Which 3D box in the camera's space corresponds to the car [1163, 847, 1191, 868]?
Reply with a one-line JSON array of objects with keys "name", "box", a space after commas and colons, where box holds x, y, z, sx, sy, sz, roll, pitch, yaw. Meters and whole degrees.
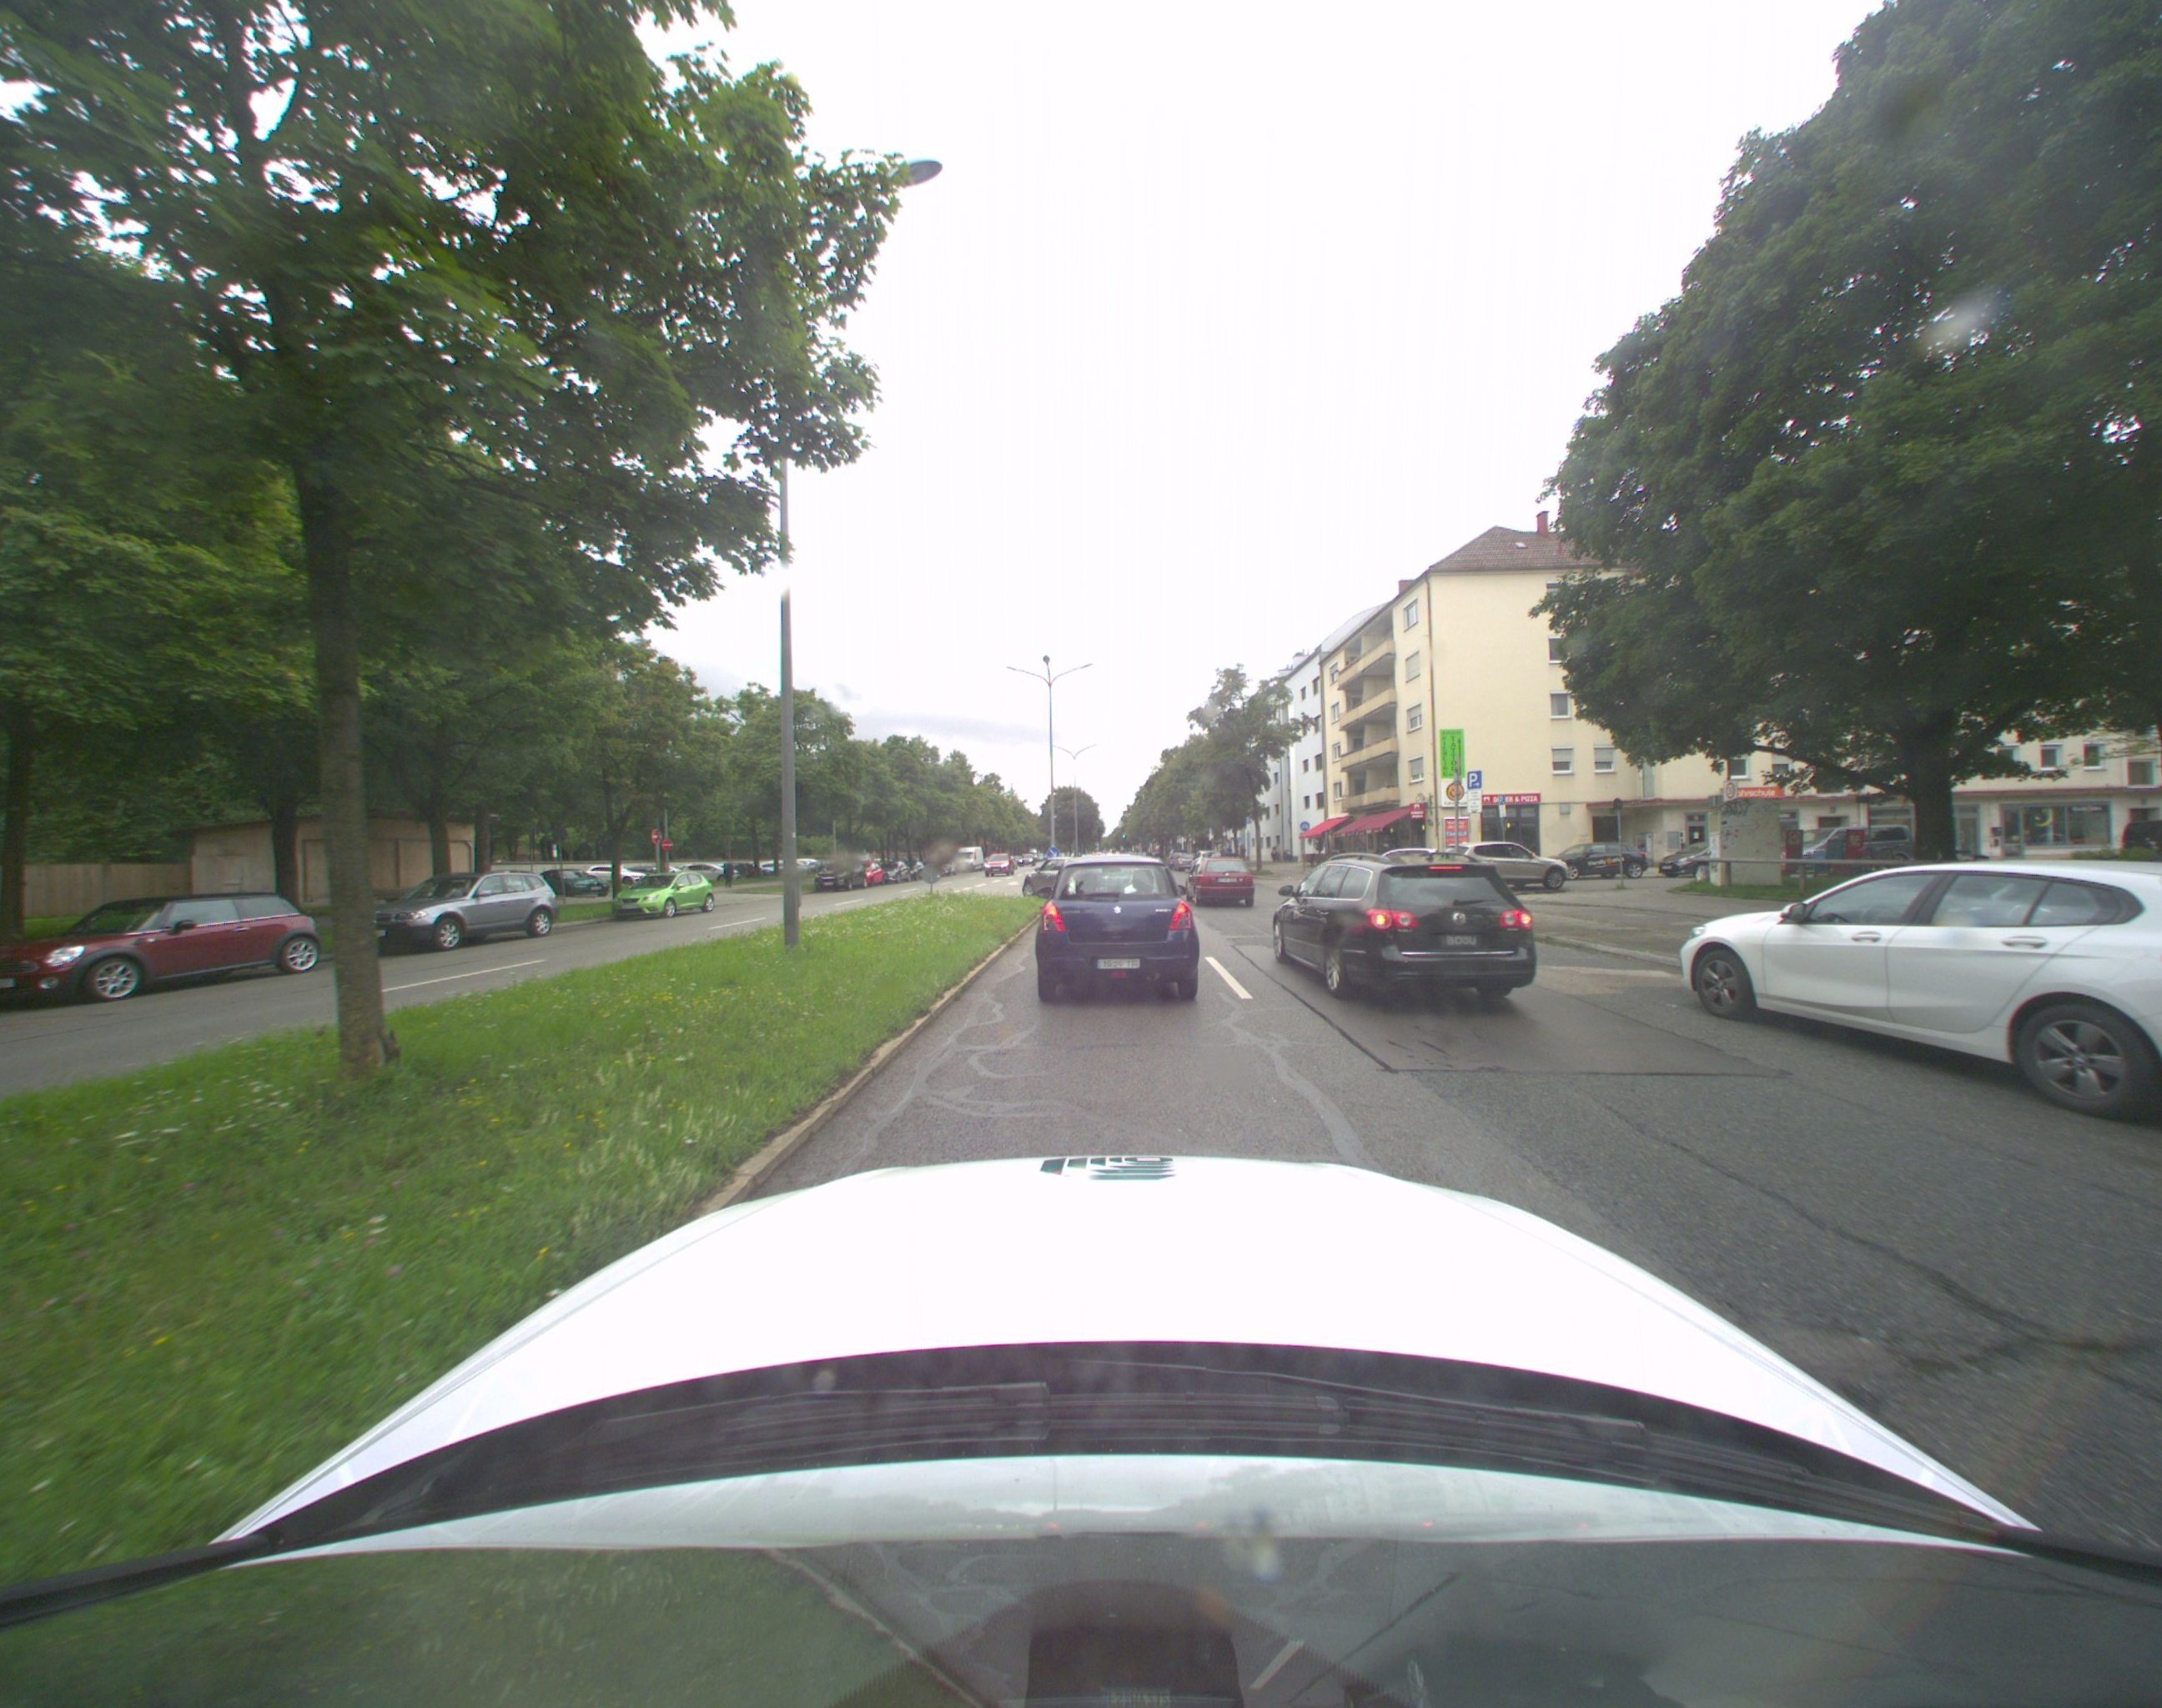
[{"name": "car", "box": [8.152, 0.277, 69.597, 1.859, 1.682, 4.224, -2, 0, 0]}]

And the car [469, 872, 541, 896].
[{"name": "car", "box": [-30.880, 1.573, 43.620, 4.363, 1.201, 1.683, -1, -1, 33]}]

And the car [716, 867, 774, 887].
[{"name": "car", "box": [-26.044, 1.802, 63.212, 3.858, 1.445, 1.670, -1, 0, -4]}]

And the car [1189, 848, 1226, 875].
[{"name": "car", "box": [7.979, 0.445, 51.665, 1.785, 1.558, 4.225, -2, 0, 1]}]

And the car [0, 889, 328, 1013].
[{"name": "car", "box": [-14.026, 1.355, 12.375, 1.584, 1.397, 3.634, -3, 0, 4]}]

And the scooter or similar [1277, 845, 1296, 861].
[{"name": "scooter or similar", "box": [17.435, -0.073, 69.094, 1.028, 1.307, 2.757, -2, 0, 3]}]

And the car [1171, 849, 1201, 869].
[{"name": "car", "box": [8.316, 0.378, 64.933, 1.859, 1.517, 4.224, -2, 0, 0]}]

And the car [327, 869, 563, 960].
[{"name": "car", "box": [-13.864, 1.224, 18.163, 1.685, 1.586, 4.372, -3, 0, 1]}]

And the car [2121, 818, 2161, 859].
[{"name": "car", "box": [46.222, -0.624, 33.505, 4.723, 1.661, 1.870, 0, 0, -3]}]

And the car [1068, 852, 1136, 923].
[{"name": "car", "box": [0.477, 0.715, 18.987, 1.439, 1.483, 3.107, -1, 0, 1]}]

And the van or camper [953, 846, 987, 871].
[{"name": "van or camper", "box": [-11.559, 0.421, 85.294, 2.108, 2.482, 7.454, -1, 0, 3]}]

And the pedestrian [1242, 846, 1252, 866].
[{"name": "pedestrian", "box": [16.270, 0.189, 79.706, 0.791, 2.013, 1.007, -1, 0, 2]}]

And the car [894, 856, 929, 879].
[{"name": "car", "box": [-12.321, 0.970, 59.395, 1.585, 1.558, 3.880, -1, 0, 1]}]

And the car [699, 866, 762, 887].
[{"name": "car", "box": [-25.367, 1.646, 59.019, 3.858, 1.445, 1.670, -1, 0, -4]}]

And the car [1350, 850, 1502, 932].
[{"name": "car", "box": [6.762, 0.662, 16.383, 1.611, 1.465, 3.676, 0, 0, 2]}]

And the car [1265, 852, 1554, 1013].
[{"name": "car", "box": [3.442, 0.695, 9.521, 1.724, 1.432, 4.444, 0, 0, 2]}]

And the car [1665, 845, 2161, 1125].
[{"name": "car", "box": [6.543, 0.694, 5.940, 1.676, 1.465, 4.138, 1, 0, 1]}]

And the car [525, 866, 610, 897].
[{"name": "car", "box": [-25.847, 1.367, 40.953, 4.363, 1.445, 1.973, -1, -1, 33]}]

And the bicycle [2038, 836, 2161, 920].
[{"name": "bicycle", "box": [14.359, 0.318, 11.142, 0.380, 1.103, 1.885, -1, 0, 3]}]

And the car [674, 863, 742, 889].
[{"name": "car", "box": [-25.688, 1.505, 56.154, 3.910, 1.718, 1.670, -1, 0, -4]}]

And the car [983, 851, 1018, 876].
[{"name": "car", "box": [-5.975, 0.692, 60.667, 1.896, 1.696, 4.248, -4, 0, 2]}]

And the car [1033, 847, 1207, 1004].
[{"name": "car", "box": [0.414, 0.691, 9.908, 1.676, 1.502, 3.919, -1, 0, 1]}]

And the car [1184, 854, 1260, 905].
[{"name": "car", "box": [4.057, 0.692, 24.035, 1.676, 1.383, 3.920, 0, 0, 2]}]

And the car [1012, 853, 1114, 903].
[{"name": "car", "box": [-0.651, 0.734, 26.361, 1.693, 1.463, 3.698, -1, 0, -30]}]

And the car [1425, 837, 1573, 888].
[{"name": "car", "box": [14.298, 0.273, 27.929, 4.397, 1.661, 1.863, 0, 0, -13]}]

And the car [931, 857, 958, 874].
[{"name": "car", "box": [-11.943, 1.012, 71.295, 1.626, 1.431, 3.880, -1, 0, 1]}]

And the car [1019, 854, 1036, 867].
[{"name": "car", "box": [-7.130, 0.895, 108.985, 1.760, 1.623, 4.508, -3, 0, 2]}]

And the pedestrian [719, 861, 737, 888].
[{"name": "pedestrian", "box": [-20.342, 1.158, 46.911, 0.724, 1.534, 0.721, -1, 0, 2]}]

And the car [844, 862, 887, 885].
[{"name": "car", "box": [-12.886, 1.156, 48.855, 1.585, 1.312, 3.381, -1, 0, 1]}]

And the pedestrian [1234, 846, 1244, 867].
[{"name": "pedestrian", "box": [15.447, 0.198, 79.682, 0.791, 2.013, 1.007, -1, 0, 2]}]

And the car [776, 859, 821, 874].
[{"name": "car", "box": [-28.006, 1.243, 80.825, 3.858, 1.445, 1.670, -1, 0, -4]}]

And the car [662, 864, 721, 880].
[{"name": "car", "box": [-36.206, 1.657, 75.798, 4.672, 1.445, 1.674, -1, 0, 2]}]

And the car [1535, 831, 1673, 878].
[{"name": "car", "box": [21.058, 0.024, 32.901, 4.383, 1.661, 1.870, -2, 0, -3]}]

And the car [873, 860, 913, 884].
[{"name": "car", "box": [-12.449, 1.166, 54.044, 1.661, 1.445, 3.880, -1, 0, 1]}]

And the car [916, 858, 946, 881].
[{"name": "car", "box": [-12.054, 1.213, 65.769, 1.626, 1.741, 3.880, -1, 0, 1]}]

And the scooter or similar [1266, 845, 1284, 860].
[{"name": "scooter or similar", "box": [17.399, -0.150, 72.956, 1.028, 1.307, 2.757, -2, 0, 3]}]

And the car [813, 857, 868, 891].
[{"name": "car", "box": [-12.919, 1.028, 43.943, 1.710, 1.741, 3.880, -1, 0, 1]}]

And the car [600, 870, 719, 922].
[{"name": "car", "box": [-13.577, 1.303, 26.495, 1.540, 1.409, 3.884, -3, 0, 4]}]

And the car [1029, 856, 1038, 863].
[{"name": "car", "box": [-10.203, 1.129, 175.211, 1.626, 1.583, 3.880, -1, 0, 1]}]

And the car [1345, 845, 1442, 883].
[{"name": "car", "box": [12.576, 0.403, 32.799, 3.517, 1.417, 1.882, -2, 0, 23]}]

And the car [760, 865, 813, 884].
[{"name": "car", "box": [-24.766, 1.717, 68.676, 3.858, 1.445, 1.670, -1, 0, -4]}]

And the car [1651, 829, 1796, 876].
[{"name": "car", "box": [25.775, -0.057, 32.792, 4.380, 1.661, 1.871, -2, 0, -1]}]

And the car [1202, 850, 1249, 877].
[{"name": "car", "box": [8.264, 0.514, 46.886, 1.860, 1.417, 4.222, -2, 0, -1]}]

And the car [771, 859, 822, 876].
[{"name": "car", "box": [-25.092, 1.215, 71.874, 3.858, 1.445, 1.670, -1, 0, -4]}]

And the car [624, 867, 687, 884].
[{"name": "car", "box": [-37.480, 1.902, 71.788, 4.672, 1.445, 1.674, -1, 0, 2]}]

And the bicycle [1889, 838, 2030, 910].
[{"name": "bicycle", "box": [14.426, 0.304, 13.449, 0.387, 1.105, 1.855, -1, 0, 3]}]

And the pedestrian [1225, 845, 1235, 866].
[{"name": "pedestrian", "box": [14.538, 0.112, 79.629, 0.791, 2.013, 1.007, -1, 0, 2]}]

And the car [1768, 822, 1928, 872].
[{"name": "car", "box": [31.113, -0.274, 33.112, 4.719, 1.773, 1.871, -2, 0, 0]}]

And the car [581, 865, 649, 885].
[{"name": "car", "box": [-37.230, 1.659, 65.102, 4.488, 1.476, 1.673, -1, -1, 2]}]
